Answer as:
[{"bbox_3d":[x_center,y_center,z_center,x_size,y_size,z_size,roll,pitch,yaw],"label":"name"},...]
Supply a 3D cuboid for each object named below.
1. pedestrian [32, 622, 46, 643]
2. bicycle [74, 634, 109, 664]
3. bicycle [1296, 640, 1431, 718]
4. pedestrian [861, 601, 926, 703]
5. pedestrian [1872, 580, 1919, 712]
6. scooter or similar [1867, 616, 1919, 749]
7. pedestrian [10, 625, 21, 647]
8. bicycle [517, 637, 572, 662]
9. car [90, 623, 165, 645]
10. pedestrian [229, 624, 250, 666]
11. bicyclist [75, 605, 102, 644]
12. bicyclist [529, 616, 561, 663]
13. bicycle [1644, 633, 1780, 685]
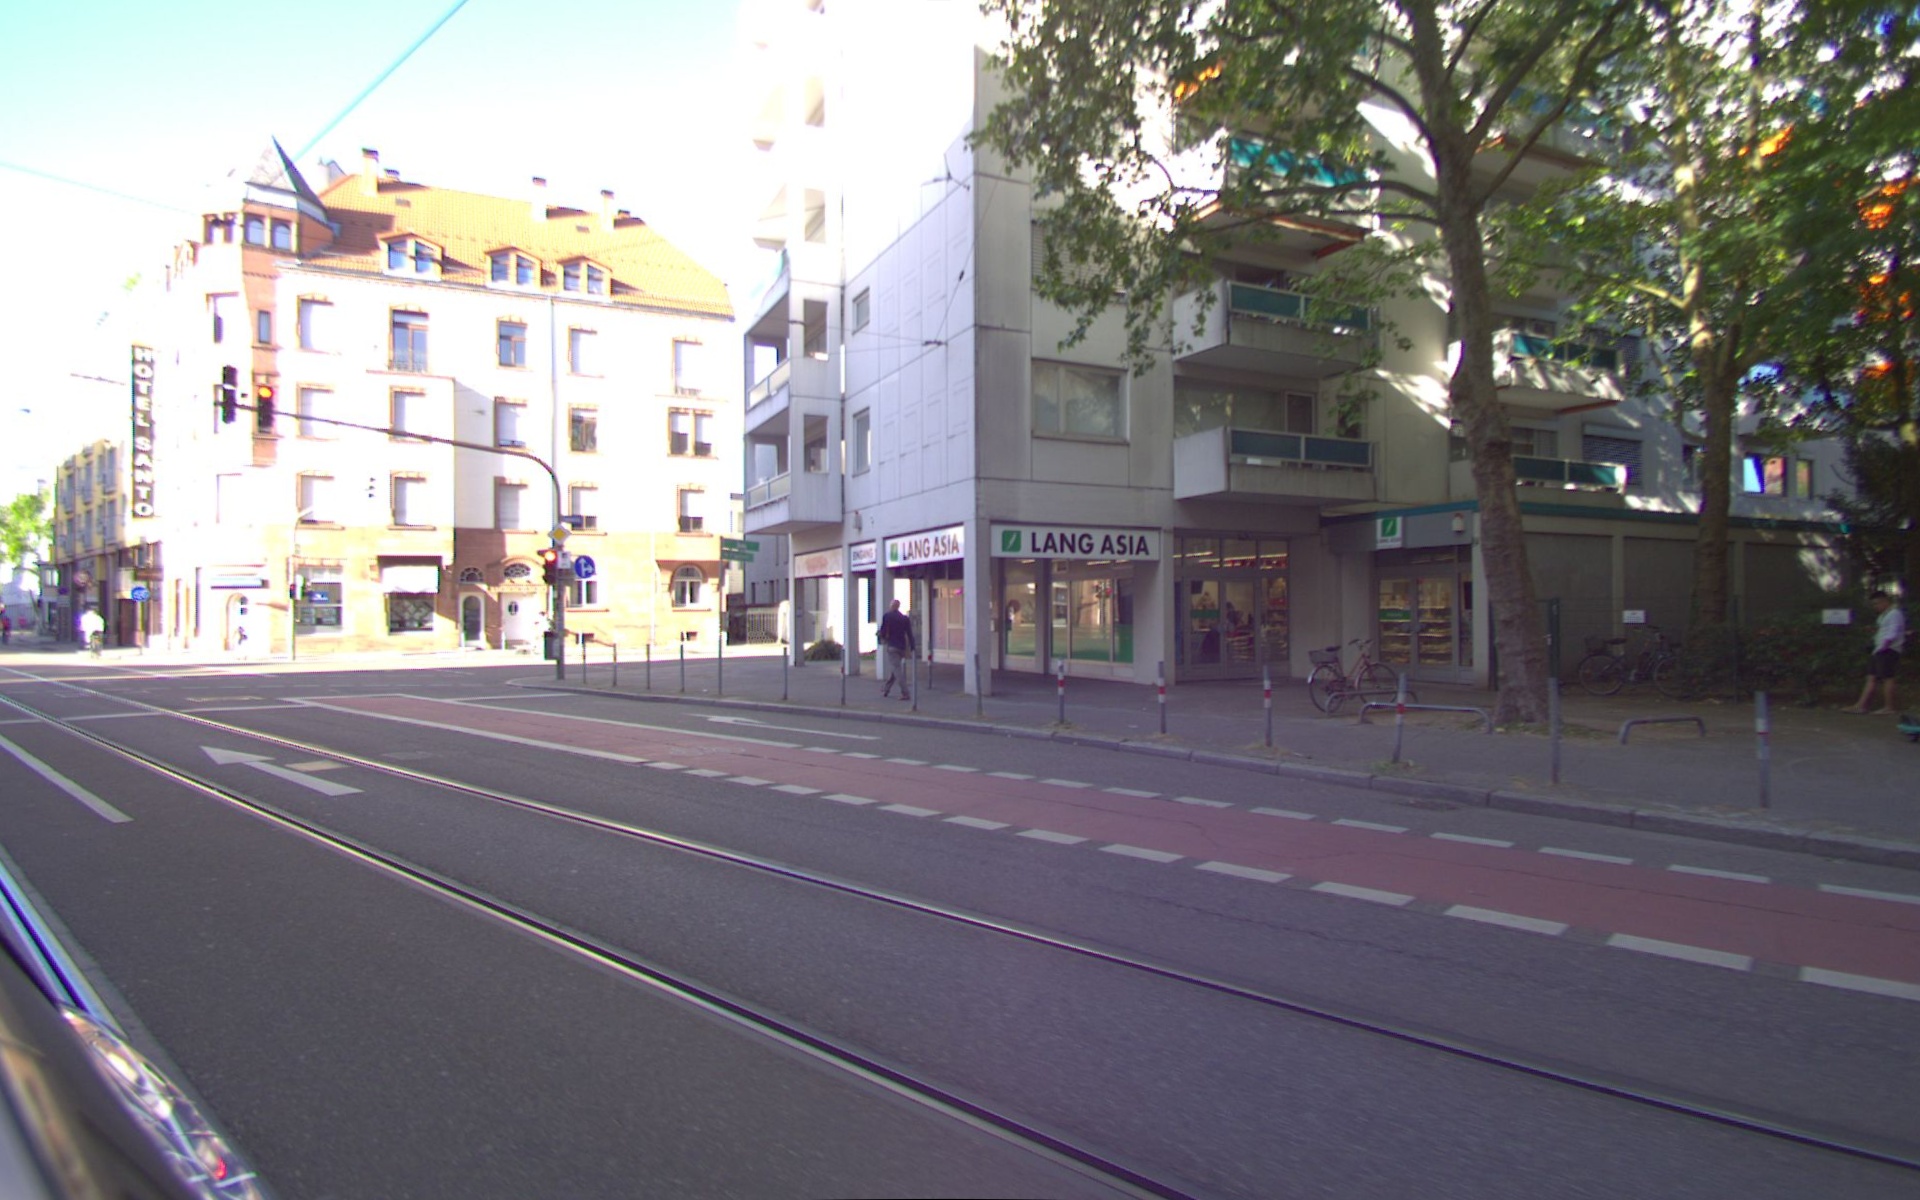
[{"bbox_3d":[-77.098,2.715,84.706,0.777,1.777,0.708,-1,-2,32],"label":"pedestrian"},{"bbox_3d":[-33.714,1.872,39.281,2.082,1.129,0.685,-1,-2,40],"label":"bicycle"},{"bbox_3d":[5.926,1.134,14.850,1.889,1.042,0.667,0,-1,-23],"label":"bicycle"},{"bbox_3d":[-1.192,0.920,18.156,0.673,1.779,1.027,0,-2,-38],"label":"pedestrian"},{"bbox_3d":[12.681,0.611,13.615,0.547,1.731,0.451,-2,-2,40],"label":"pedestrian"},{"bbox_3d":[9.784,0.794,10.109,0.764,1.267,1.220,-2,-2,29],"label":"scooter or similar"},{"bbox_3d":[-82.743,3.135,88.642,0.708,1.961,0.631,-1,-2,40],"label":"pedestrian"},{"bbox_3d":[-16.062,1.903,39.133,1.790,0.916,0.791,-1,-1,2],"label":"bicycle"},{"bbox_3d":[-63.870,2.612,77.694,1.784,1.560,4.189,1,0,41],"label":"car"},{"bbox_3d":[-27.165,1.681,38.160,0.515,1.564,0.537,-1,-1,39],"label":"pedestrian"},{"bbox_3d":[-33.642,0.941,39.081,0.778,1.494,0.675,-2,-2,40],"label":"bicyclist"},{"bbox_3d":[-16.042,1.524,39.146,0.961,1.777,0.615,-1,-1,2],"label":"bicyclist"},{"bbox_3d":[14.122,1.085,19.072,0.496,0.920,1.988,1,-2,-35],"label":"bicycle"}]
